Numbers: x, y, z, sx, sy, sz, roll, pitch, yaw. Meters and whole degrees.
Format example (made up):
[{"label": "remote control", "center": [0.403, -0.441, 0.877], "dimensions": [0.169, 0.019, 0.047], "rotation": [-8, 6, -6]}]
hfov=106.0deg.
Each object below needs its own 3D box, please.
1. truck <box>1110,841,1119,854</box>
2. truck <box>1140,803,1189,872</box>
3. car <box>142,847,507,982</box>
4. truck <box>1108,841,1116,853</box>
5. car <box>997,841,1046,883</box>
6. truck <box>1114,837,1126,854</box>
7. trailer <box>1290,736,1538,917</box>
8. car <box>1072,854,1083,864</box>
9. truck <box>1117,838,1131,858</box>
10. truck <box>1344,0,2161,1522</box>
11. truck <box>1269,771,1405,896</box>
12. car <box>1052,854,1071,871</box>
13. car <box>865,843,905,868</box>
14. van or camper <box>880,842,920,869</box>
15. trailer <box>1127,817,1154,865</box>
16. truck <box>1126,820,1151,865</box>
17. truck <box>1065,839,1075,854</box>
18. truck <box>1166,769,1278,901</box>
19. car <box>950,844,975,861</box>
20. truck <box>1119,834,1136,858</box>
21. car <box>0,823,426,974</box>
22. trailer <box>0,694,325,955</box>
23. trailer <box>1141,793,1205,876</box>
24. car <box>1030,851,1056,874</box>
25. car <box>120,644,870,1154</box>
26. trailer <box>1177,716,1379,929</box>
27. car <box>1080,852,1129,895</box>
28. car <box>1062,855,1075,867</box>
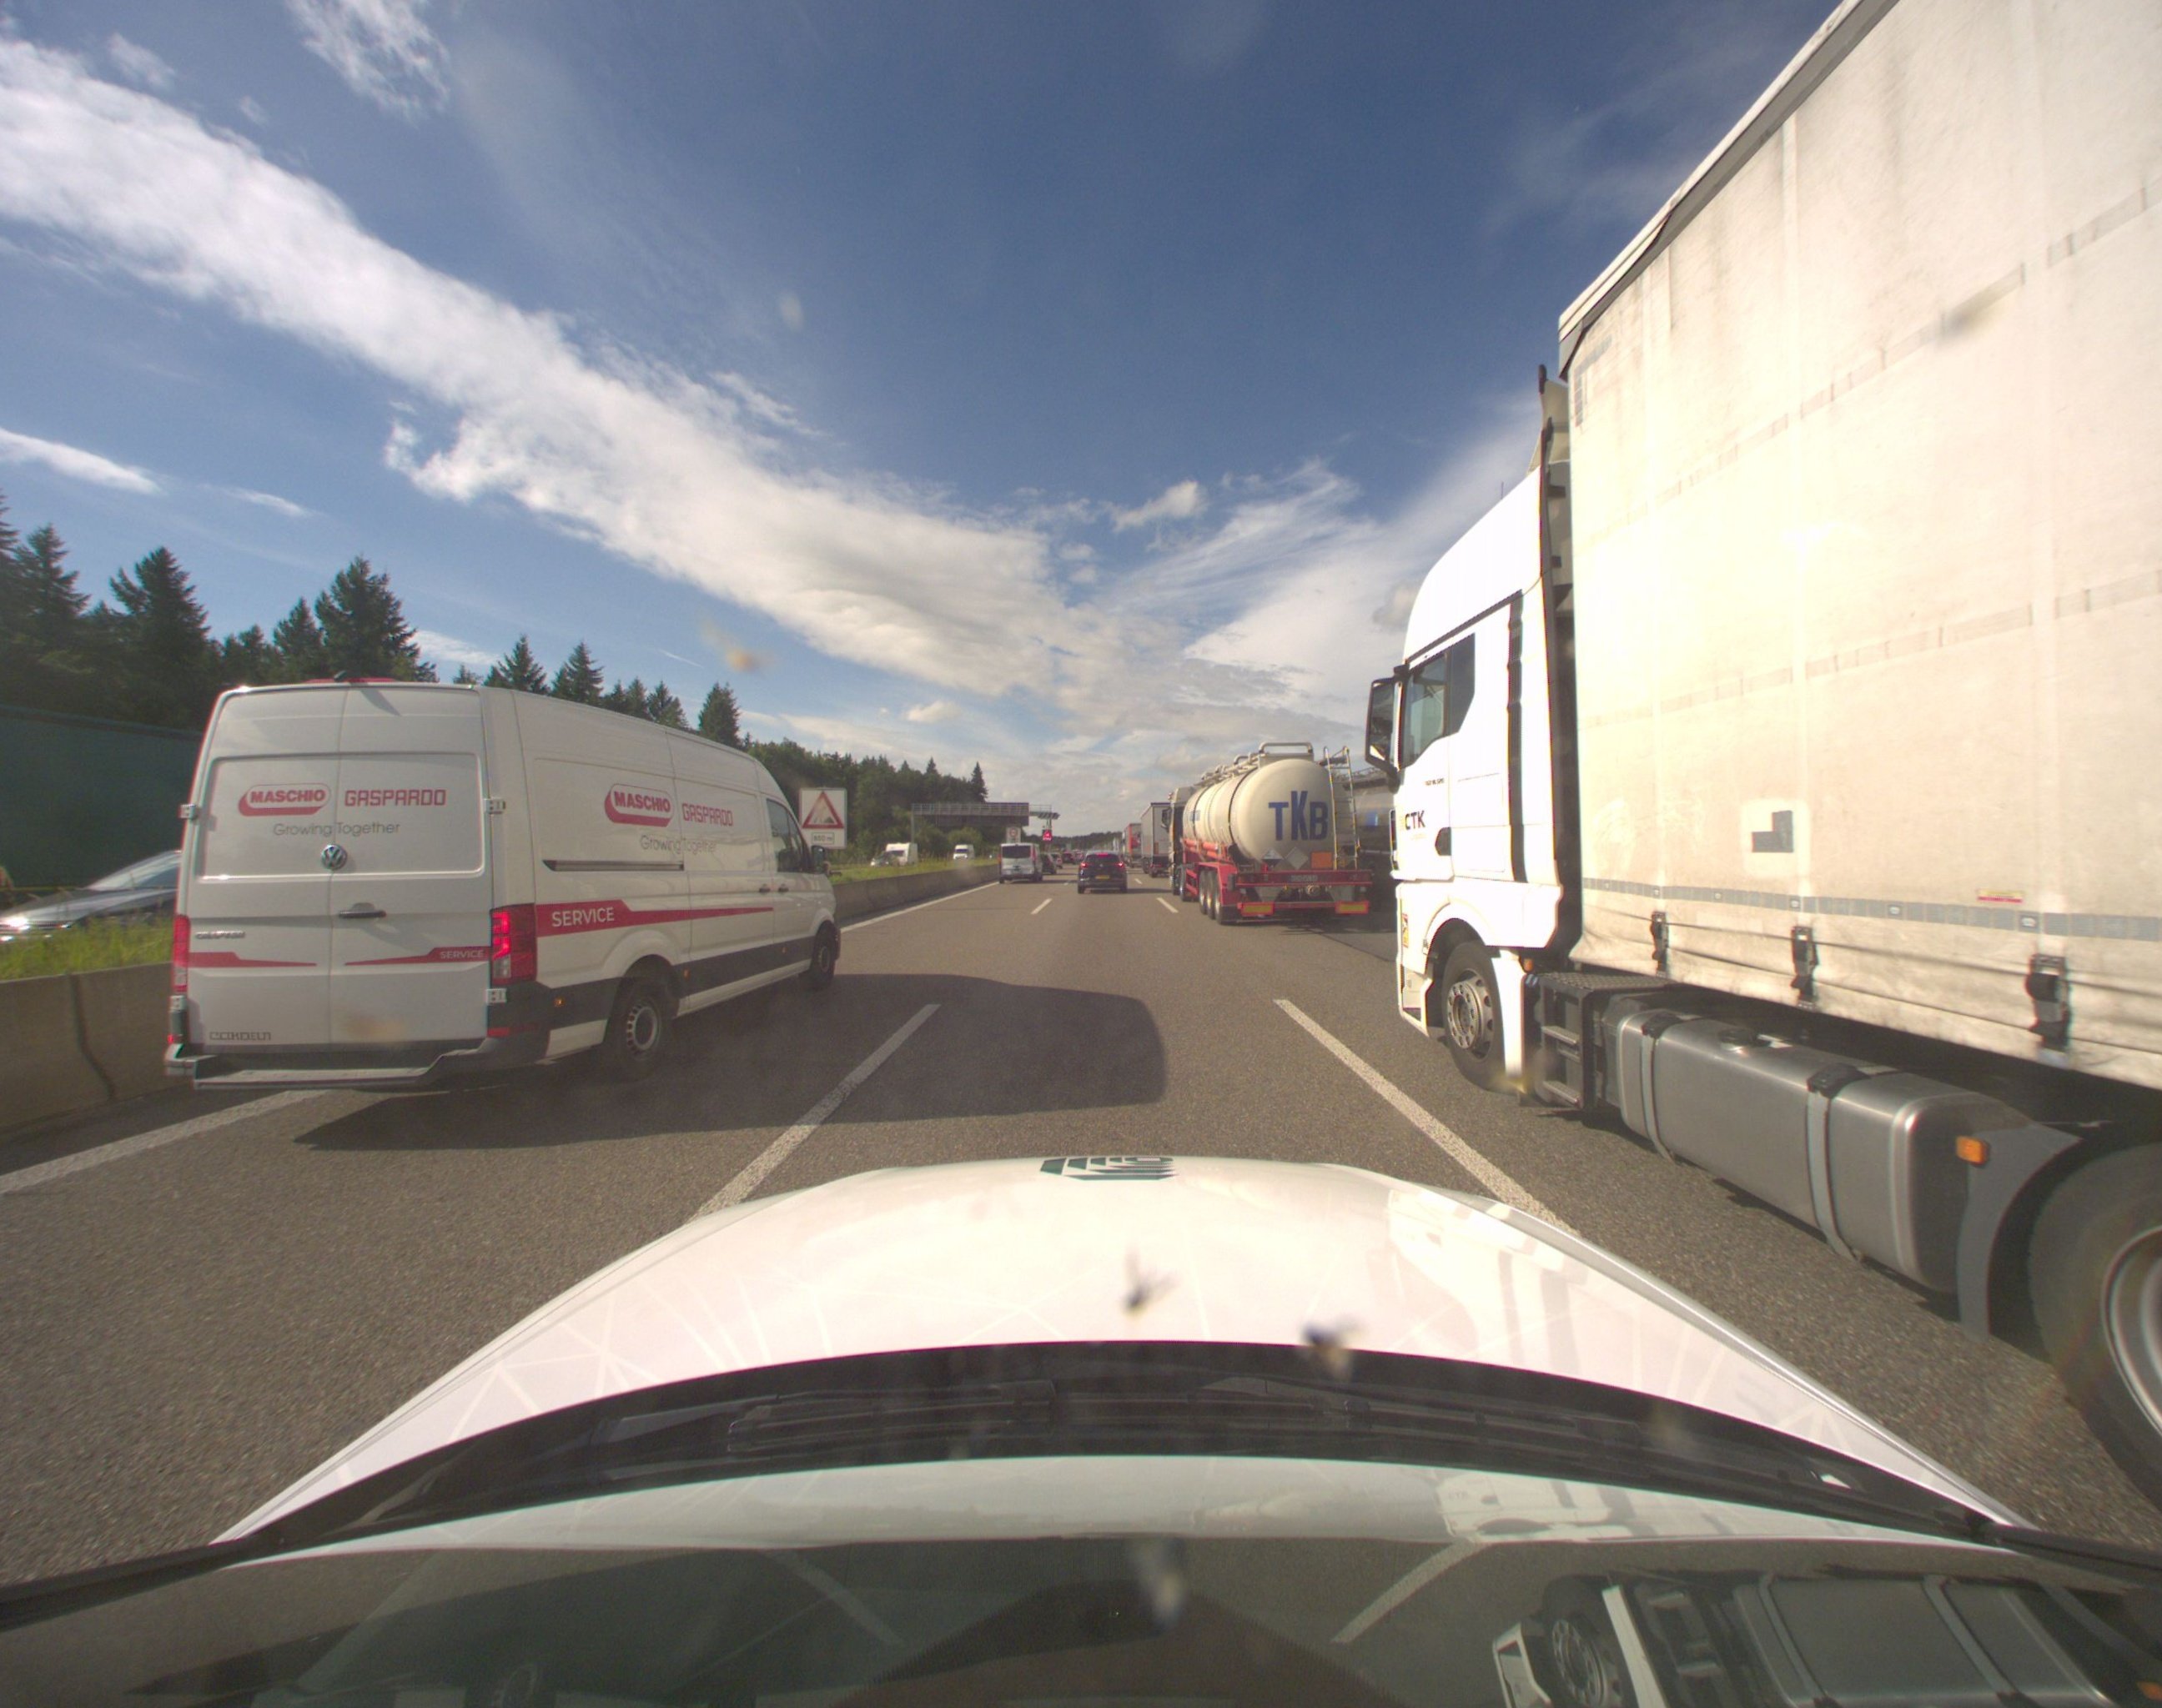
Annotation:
[{"label": "truck", "center": [7.920, -1.601, 195.080], "dimensions": [1.986, 3.052, 4.984], "rotation": [2, 0, 2]}, {"label": "truck", "center": [5.421, -1.001, 54.079], "dimensions": [2.775, 4.247, 6.463], "rotation": [-1, 0, 2]}, {"label": "car", "center": [-10.949, 0.760, 12.248], "dimensions": [1.821, 1.684, 3.811], "rotation": [-1, 0, 2]}, {"label": "truck", "center": [8.518, -1.882, 221.847], "dimensions": [1.986, 3.052, 4.984], "rotation": [2, 0, 2]}, {"label": "car", "center": [-2.973, 0.393, 41.551], "dimensions": [1.926, 1.979, 5.100], "rotation": [2, 0, 1]}, {"label": "truck", "center": [7.123, -1.486, 149.742], "dimensions": [1.986, 3.052, 4.984], "rotation": [2, 0, 2]}, {"label": "trailer", "center": [8.094, -0.534, 21.785], "dimensions": [2.531, 3.598, 10.631], "rotation": [-1, 0, 2]}, {"label": "car", "center": [-0.537, 0.719, 116.681], "dimensions": [1.429, 1.310, 3.534], "rotation": [2, 0, 1]}, {"label": "truck", "center": [6.598, -0.911, 124.630], "dimensions": [1.986, 2.932, 4.984], "rotation": [2, 0, 2]}, {"label": "truck", "center": [3.613, -0.668, 3.931], "dimensions": [2.698, 4.059, 6.364], "rotation": [-1, 0, 2]}, {"label": "truck", "center": [8.267, -0.599, 27.217], "dimensions": [2.520, 3.573, 6.779], "rotation": [-2, 0, 2]}, {"label": "car", "center": [-1.746, 0.750, 74.235], "dimensions": [1.494, 1.396, 3.477], "rotation": [2, 0, 1]}, {"label": "car", "center": [-17.385, 0.128, 72.647], "dimensions": [2.232, 2.057, 5.083], "rotation": [-1, 0, 1]}, {"label": "van or camper", "center": [-17.306, 0.144, 78.154], "dimensions": [2.450, 2.414, 5.853], "rotation": [-1, 0, 1]}, {"label": "trailer", "center": [5.446, -1.128, 75.607], "dimensions": [2.141, 4.259, 8.444], "rotation": [-1, 0, 2]}, {"label": "truck", "center": [5.654, -1.089, 80.758], "dimensions": [2.125, 4.282, 6.341], "rotation": [-1, 0, 2]}, {"label": "truck", "center": [-2.810, -1.875, 210.356], "dimensions": [2.335, 3.594, 6.307], "rotation": [2, 0, 2]}, {"label": "truck", "center": [4.223, -0.509, 25.756], "dimensions": [2.524, 3.584, 6.731], "rotation": [-1, 0, 2]}, {"label": "car", "center": [-16.374, -0.226, 113.026], "dimensions": [2.308, 2.193, 6.864], "rotation": [2, 0, 1]}, {"label": "truck", "center": [6.059, -0.990, 106.325], "dimensions": [1.986, 2.932, 4.984], "rotation": [2, 0, 2]}, {"label": "car", "center": [-11.195, 0.482, 10.792], "dimensions": [1.663, 1.582, 4.001], "rotation": [2, 0, 1]}, {"label": "trailer", "center": [-18.872, -0.456, 14.481], "dimensions": [2.716, 4.244, 8.553], "rotation": [-1, 0, 1]}, {"label": "trailer", "center": [5.172, -1.001, 47.626], "dimensions": [2.791, 4.244, 11.063], "rotation": [-2, 0, 2]}, {"label": "car", "center": [-2.504, 0.546, 54.177], "dimensions": [1.494, 1.396, 3.477], "rotation": [-1, 0, 1]}, {"label": "car", "center": [-3.857, 0.234, 7.314], "dimensions": [2.007, 2.599, 6.185], "rotation": [-1, 0, 2]}, {"label": "trailer", "center": [4.028, -0.528, 19.431], "dimensions": [2.531, 3.654, 10.631], "rotation": [-1, 0, 2]}, {"label": "car", "center": [0.888, 0.669, 30.667], "dimensions": [1.690, 1.483, 4.161], "rotation": [-1, 0, 1]}, {"label": "car", "center": [-1.489, 0.852, 96.338], "dimensions": [1.429, 1.310, 3.534], "rotation": [2, 0, 1]}]
